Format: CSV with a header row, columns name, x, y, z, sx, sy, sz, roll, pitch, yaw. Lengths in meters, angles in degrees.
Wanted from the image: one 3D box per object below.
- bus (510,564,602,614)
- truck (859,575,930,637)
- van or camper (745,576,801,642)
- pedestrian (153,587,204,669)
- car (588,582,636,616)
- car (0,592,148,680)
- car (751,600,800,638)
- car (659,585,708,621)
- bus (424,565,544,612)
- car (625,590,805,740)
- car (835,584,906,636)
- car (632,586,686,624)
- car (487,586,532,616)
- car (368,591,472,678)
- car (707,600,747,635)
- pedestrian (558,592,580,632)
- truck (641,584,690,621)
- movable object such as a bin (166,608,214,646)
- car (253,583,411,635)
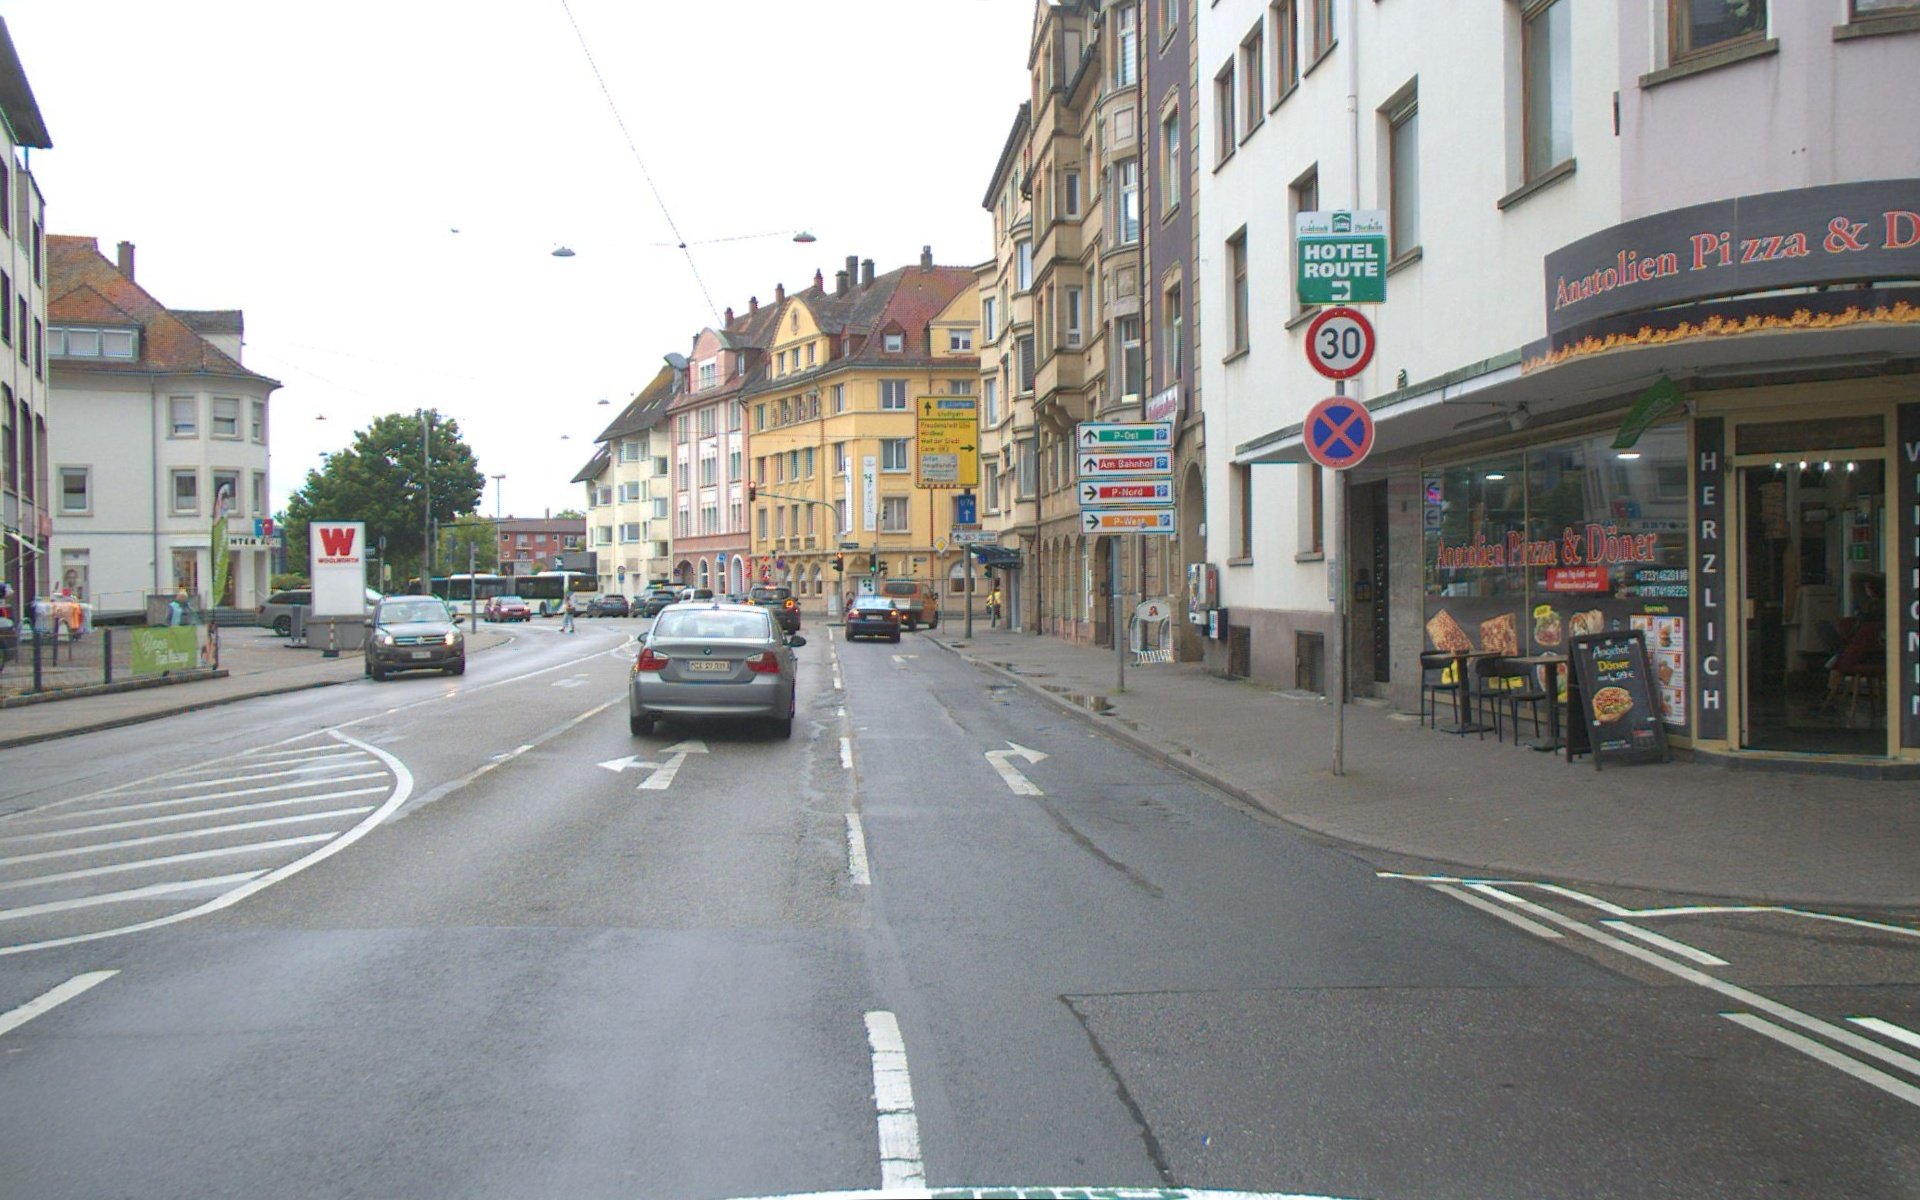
name,x,y,z,sx,sy,sz,roll,pitch,yaw
bus,-27.233,-0.720,111.070,2.885,3.159,9.028,-1,0,-35
truck,-2.502,0.226,64.664,2.177,2.289,5.065,0,0,4
van or camper,-6.580,0.300,57.894,1.820,2.184,4.135,-1,0,-8
pedestrian,-16.715,0.584,35.370,0.740,1.715,0.744,-1,0,40
car,-21.258,-0.047,100.896,1.969,2.049,3.966,0,0,-26
car,-16.696,0.599,29.518,1.952,1.464,4.654,0,0,3
car,-7.240,0.741,64.643,1.769,1.430,4.675,1,-1,-8
car,-17.731,0.181,105.837,1.743,2.218,3.960,3,-1,-30
bus,-33.379,-0.756,115.896,8.676,3.159,2.913,-1,0,30
car,-2.692,0.653,18.876,1.764,1.489,4.365,1,0,-6
car,-2.867,0.341,52.372,1.767,1.590,3.990,0,-1,-10
car,-16.807,0.266,92.272,1.969,2.049,3.967,0,0,-26
car,-25.985,0.059,95.287,1.822,1.713,3.966,0,0,-26
car,-11.139,0.666,34.221,1.918,1.688,4.037,0,0,-18
car,-12.672,0.955,90.033,1.955,1.848,3.995,0,-1,-6
pedestrian,-15.704,0.488,66.401,0.751,1.556,0.504,2,-2,-26
truck,-19.852,0.173,111.404,2.005,2.431,4.194,1,0,-30
movable object such as a bin,-16.770,0.583,36.021,0.740,0.802,0.729,-1,-1,40
car,-20.034,0.281,52.913,4.361,1.553,1.883,-1,0,-8
